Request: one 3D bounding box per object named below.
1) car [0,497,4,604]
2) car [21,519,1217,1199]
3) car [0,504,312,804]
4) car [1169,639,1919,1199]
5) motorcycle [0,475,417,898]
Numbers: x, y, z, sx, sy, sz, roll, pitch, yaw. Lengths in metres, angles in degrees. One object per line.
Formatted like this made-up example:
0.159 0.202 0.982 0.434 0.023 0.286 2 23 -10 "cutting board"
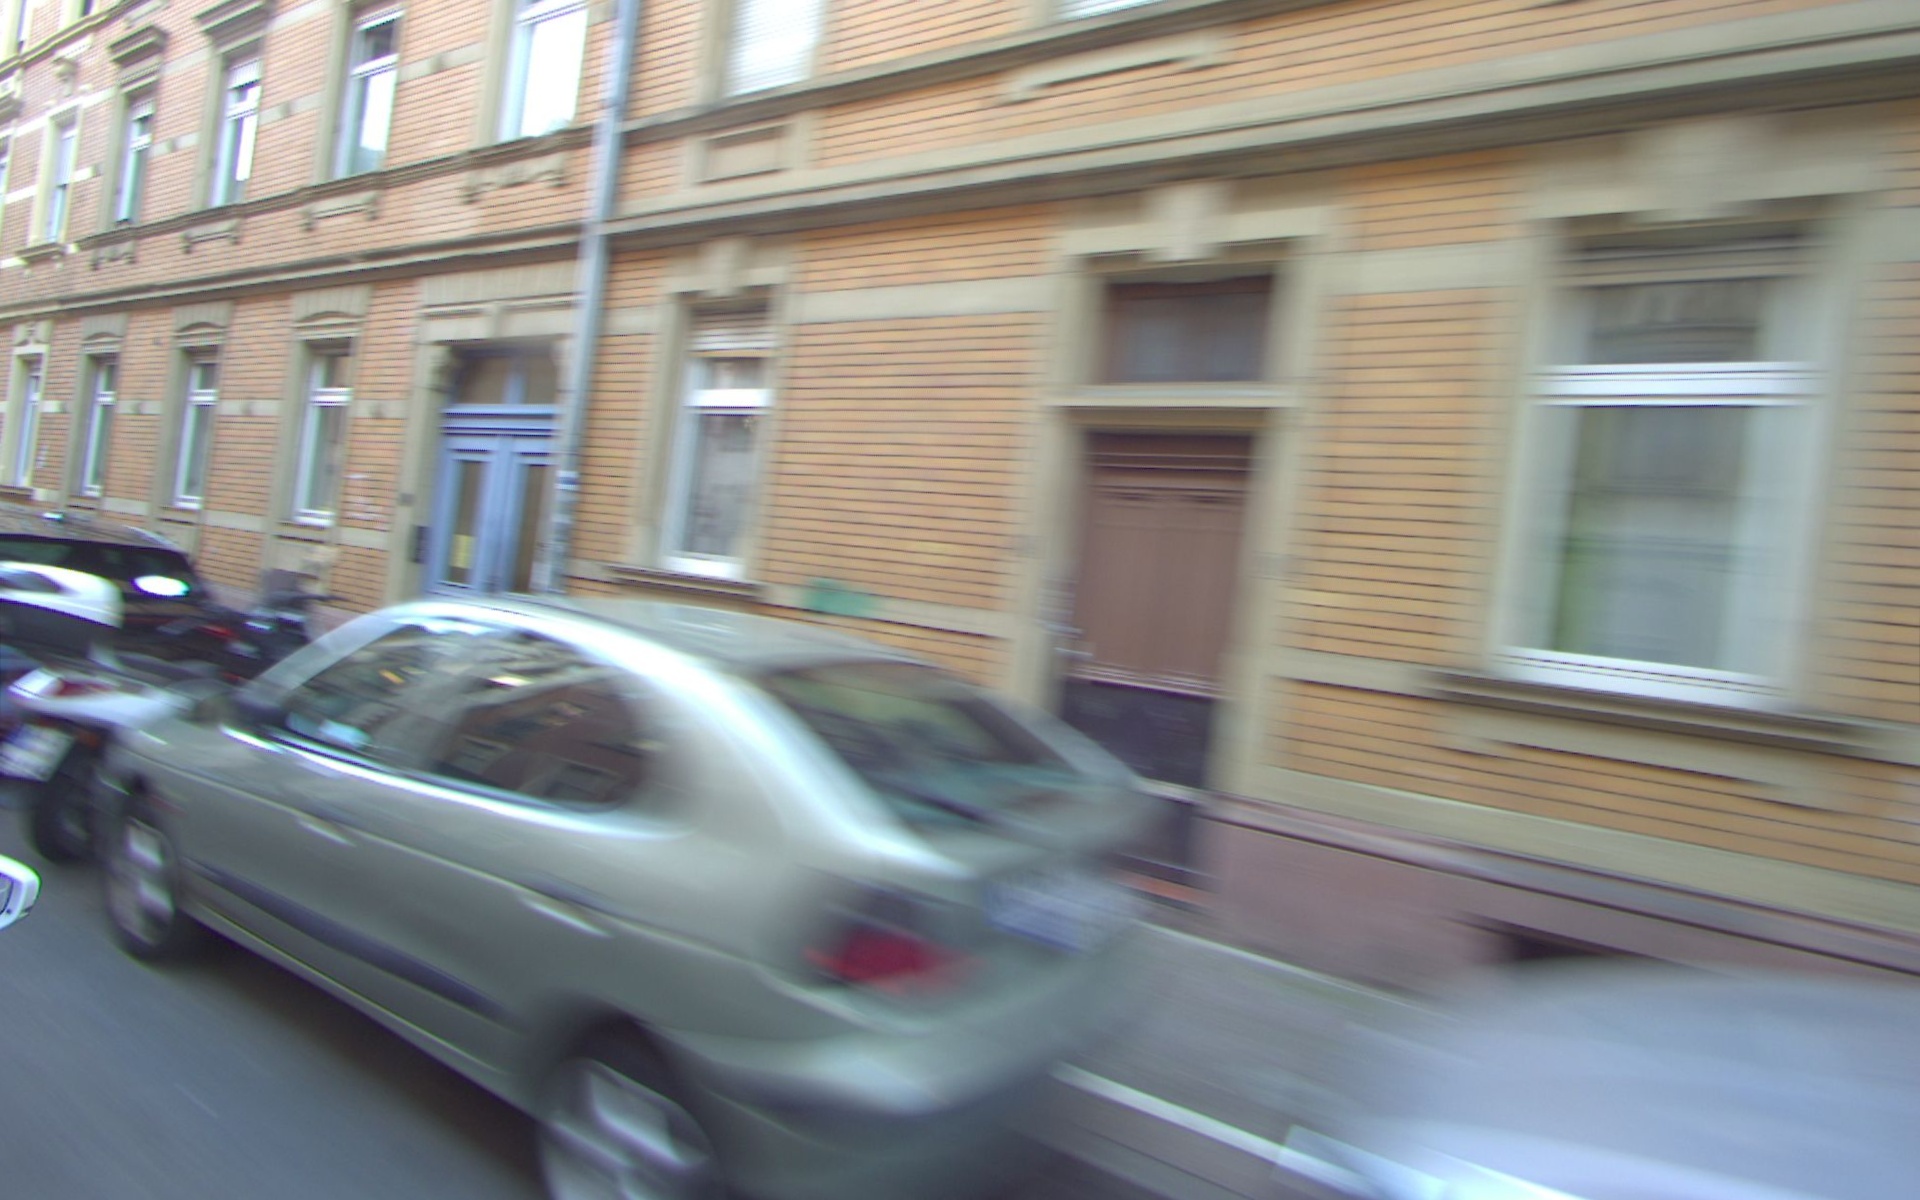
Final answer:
-11.031 -0.458 9.586 4.024 1.437 1.726 7 3 30 "car"
-1.376 0.681 3.459 3.927 1.422 1.694 7 -1 33 "car"
-6.185 0.111 6.367 4.246 1.413 1.780 7 -1 33 "car"
2.521 1.098 0.830 4.329 1.501 1.765 7 -1 33 "car"
-3.811 0.357 4.757 0.873 1.553 2.231 8 -3 6 "motorcycle"
